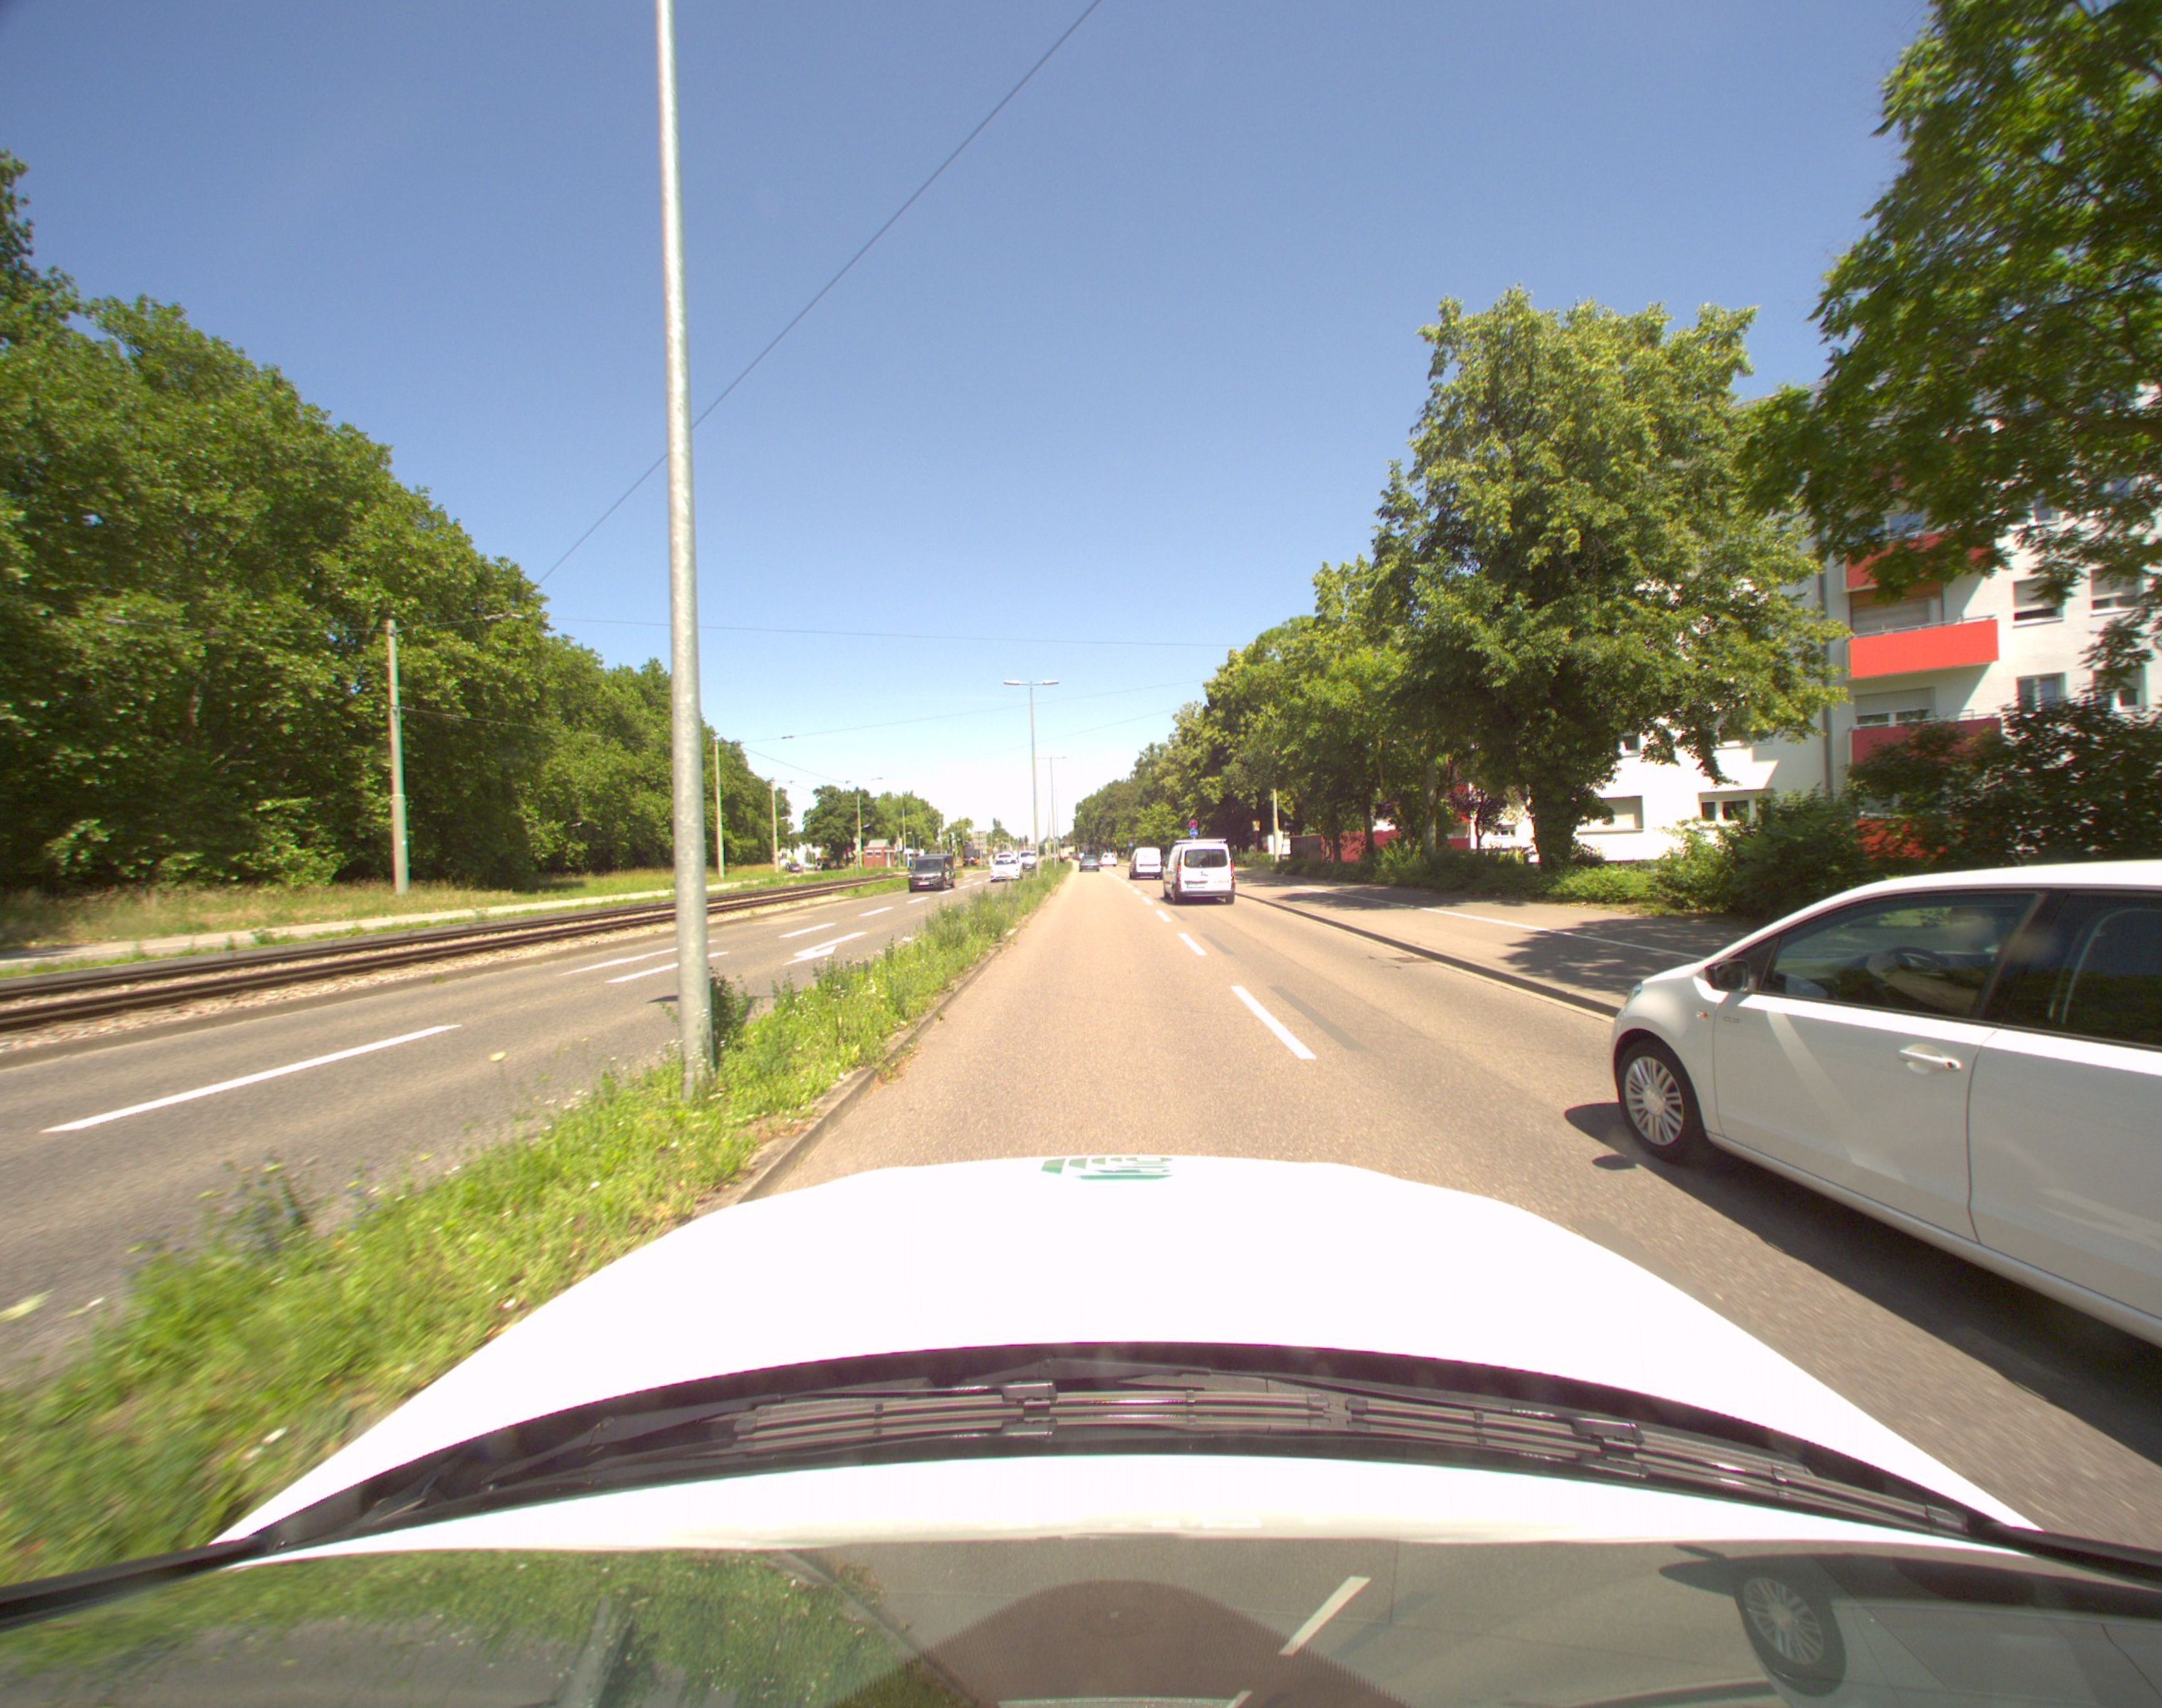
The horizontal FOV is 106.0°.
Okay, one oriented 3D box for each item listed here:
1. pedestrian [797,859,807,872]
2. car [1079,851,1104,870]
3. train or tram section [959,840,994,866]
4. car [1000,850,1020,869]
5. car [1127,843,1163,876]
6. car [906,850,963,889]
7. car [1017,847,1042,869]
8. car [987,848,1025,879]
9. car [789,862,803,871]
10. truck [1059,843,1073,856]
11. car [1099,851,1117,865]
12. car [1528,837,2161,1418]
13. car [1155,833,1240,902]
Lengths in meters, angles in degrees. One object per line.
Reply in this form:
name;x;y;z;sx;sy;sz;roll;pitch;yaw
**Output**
pedestrian;-39.363;1.638;114.839;0.511;1.701;1.278;-2;0;42
car;0.861;0.545;69.445;1.797;1.486;3.996;-1;0;-3
train or tram section;-17.177;-0.175;137.028;2.781;3.668;37.477;-1;0;-3
car;-8.483;0.635;97.343;1.883;2.017;5.081;-4;0;-1
car;3.664;0.298;47.192;1.723;1.813;3.999;-1;1;-1
car;-7.324;0.725;41.229;1.823;1.801;4.616;-3;0;1
car;-4.876;0.358;77.999;1.823;1.906;5.568;-3;0;1
car;-4.598;0.554;50.524;1.823;1.738;4.039;-3;0;1
car;-47.858;2.043;136.851;2.002;1.467;3.969;-1;0;-23
truck;-4.860;-1.495;254.341;3.890;3.812;10.780;-2;0;-3
car;3.089;0.414;92.786;1.798;1.540;3.998;-1;0;-1
car;3.546;0.670;3.100;1.653;1.449;3.856;-1;0;1
car;3.470;0.372;24.993;1.819;1.882;4.452;-1;0;-2
